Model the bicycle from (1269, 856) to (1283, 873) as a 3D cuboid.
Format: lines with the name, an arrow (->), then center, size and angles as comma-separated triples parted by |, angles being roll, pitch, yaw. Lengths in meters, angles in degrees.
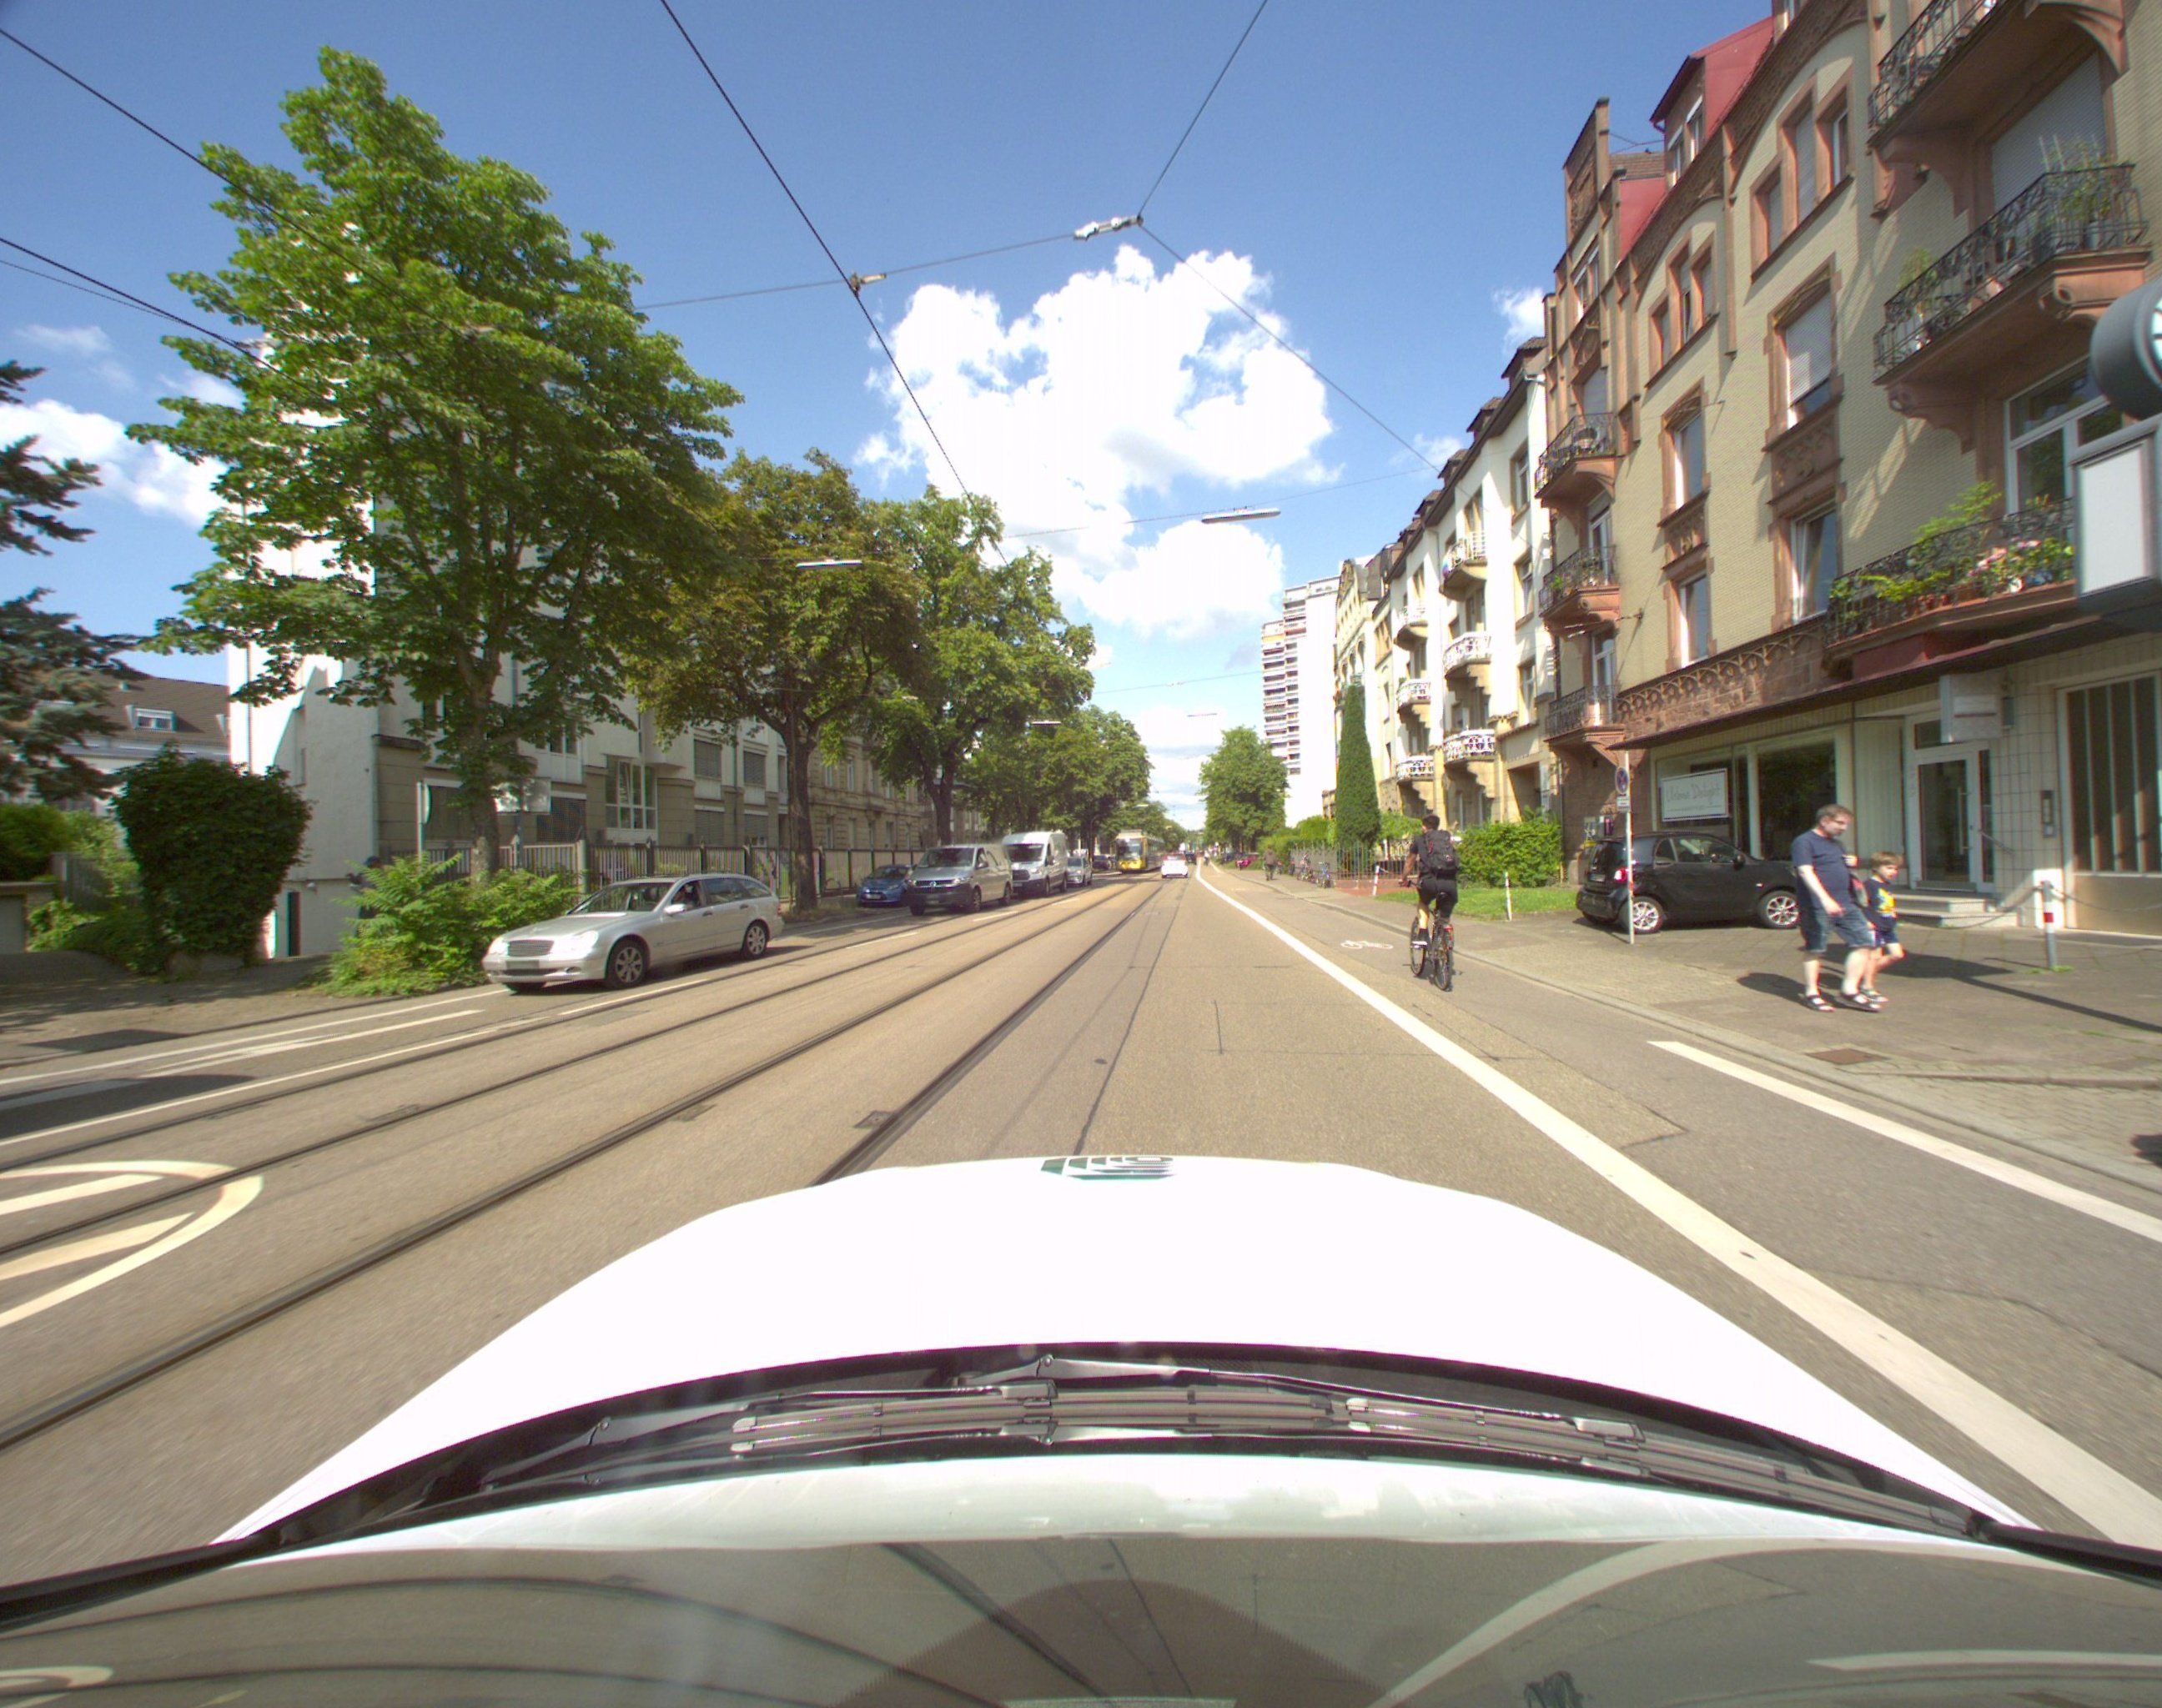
bicycle -> 11.739, 0.650, 49.058 | 0.609, 0.989, 1.876 | -3, -1, 8

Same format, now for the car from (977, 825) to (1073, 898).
car -> -2.004, 0.238, 31.594 | 2.302, 2.507, 6.379 | -1, 0, 9

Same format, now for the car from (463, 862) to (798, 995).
car -> -6.213, 0.925, 11.986 | 1.681, 1.480, 4.497 | -3, 0, 13

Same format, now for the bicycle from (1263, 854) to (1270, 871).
bicycle -> 13.173, 0.596, 57.792 | 0.278, 1.109, 2.015 | -5, -1, 8

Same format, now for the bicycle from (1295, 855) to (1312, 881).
bicycle -> 10.041, 0.613, 36.785 | 0.448, 1.122, 1.849 | -4, 0, 9

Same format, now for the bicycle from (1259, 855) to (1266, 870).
bicycle -> 13.676, 0.627, 61.282 | 0.278, 1.109, 2.015 | -5, -1, 8

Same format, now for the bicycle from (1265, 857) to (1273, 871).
bicycle -> 12.754, 0.662, 55.273 | 0.272, 0.907, 1.672 | -5, 1, 8

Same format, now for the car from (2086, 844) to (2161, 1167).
car -> 5.651, 0.671, 2.585 | 1.506, 1.499, 2.799 | -4, 0, 6

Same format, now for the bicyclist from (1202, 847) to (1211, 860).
bicyclist -> 15.157, -0.015, 98.387 | 0.883, 1.528, 1.089 | -2, 0, 14

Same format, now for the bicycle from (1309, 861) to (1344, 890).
bicycle -> 9.185, 0.777, 30.604 | 0.596, 0.961, 3.071 | -5, 0, 5

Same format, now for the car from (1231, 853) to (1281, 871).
car -> 15.264, 0.659, 70.937 | 4.177, 1.423, 1.847 | -1, -1, -35

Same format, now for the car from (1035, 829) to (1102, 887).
car -> -0.475, 0.187, 39.407 | 2.303, 2.507, 6.376 | -1, 0, 7

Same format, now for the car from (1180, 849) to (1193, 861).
car -> 14.186, 0.143, 109.214 | 1.656, 1.624, 3.629 | -2, 0, 8

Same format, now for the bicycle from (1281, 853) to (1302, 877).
bicycle -> 11.147, 0.568, 43.203 | 0.736, 1.231, 2.521 | -1, -1, 8

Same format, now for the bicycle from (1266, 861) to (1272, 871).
bicycle -> 12.906, 0.823, 55.893 | 0.278, 0.677, 1.563 | -5, -1, 8

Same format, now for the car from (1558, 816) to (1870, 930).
car -> 9.921, 0.300, 13.075 | 3.380, 1.524, 1.977 | -3, -1, 10

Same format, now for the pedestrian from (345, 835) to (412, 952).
pedestrian -> -12.455, 0.677, 14.449 | 0.479, 2.014, 0.810 | 0, -1, 41

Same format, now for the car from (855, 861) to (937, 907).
car -> -6.648, 1.037, 29.724 | 1.540, 1.519, 4.094 | 0, 0, 8

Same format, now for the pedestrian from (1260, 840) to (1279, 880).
pedestrian -> 9.012, 0.281, 38.977 | 0.785, 1.861, 0.580 | -1, -1, 1

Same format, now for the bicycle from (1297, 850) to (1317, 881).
bicycle -> 9.570, 0.488, 34.558 | 0.449, 1.261, 1.847 | -4, 0, 5

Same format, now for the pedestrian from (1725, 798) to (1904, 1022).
pedestrian -> 6.554, 0.472, 7.330 | 0.657, 1.842, 0.873 | -5, -1, 0

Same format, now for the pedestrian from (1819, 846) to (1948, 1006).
pedestrian -> 7.150, 0.622, 7.274 | 0.568, 1.325, 0.442 | -6, -1, 0

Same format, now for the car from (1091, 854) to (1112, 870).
car -> 2.290, 0.882, 89.743 | 1.741, 1.665, 4.730 | 0, 0, 7

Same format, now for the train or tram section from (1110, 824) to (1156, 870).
train or tram section -> 4.555, -0.474, 68.934 | 2.637, 3.436, 12.344 | -3, -1, 9

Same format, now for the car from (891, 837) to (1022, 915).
car -> -3.477, 0.582, 23.990 | 1.973, 1.963, 5.197 | -3, -1, 12

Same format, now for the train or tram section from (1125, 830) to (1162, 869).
train or tram section -> 6.331, -0.369, 80.682 | 2.637, 3.389, 11.500 | -3, -1, 9

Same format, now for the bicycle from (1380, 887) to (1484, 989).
bicycle -> 4.174, 0.961, 9.832 | 0.612, 1.045, 1.840 | -5, -2, 8

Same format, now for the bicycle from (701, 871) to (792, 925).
bicycle -> -8.595, 1.113, 20.967 | 2.064, 1.309, 0.614 | 1, -1, -33

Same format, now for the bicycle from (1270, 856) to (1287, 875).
bicycle -> 11.317, 0.656, 46.688 | 0.607, 0.996, 2.367 | -4, -1, 8

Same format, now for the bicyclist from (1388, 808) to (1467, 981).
bicyclist -> 4.137, 0.461, 9.794 | 0.603, 1.948, 1.133 | 0, -1, 8

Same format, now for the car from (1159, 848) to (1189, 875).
car -> 5.793, 0.468, 50.305 | 1.655, 1.625, 3.630 | 0, 0, 9

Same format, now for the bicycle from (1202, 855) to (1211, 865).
bicycle -> 15.164, 0.727, 98.305 | 0.868, 1.126, 2.144 | 0, -1, 14
